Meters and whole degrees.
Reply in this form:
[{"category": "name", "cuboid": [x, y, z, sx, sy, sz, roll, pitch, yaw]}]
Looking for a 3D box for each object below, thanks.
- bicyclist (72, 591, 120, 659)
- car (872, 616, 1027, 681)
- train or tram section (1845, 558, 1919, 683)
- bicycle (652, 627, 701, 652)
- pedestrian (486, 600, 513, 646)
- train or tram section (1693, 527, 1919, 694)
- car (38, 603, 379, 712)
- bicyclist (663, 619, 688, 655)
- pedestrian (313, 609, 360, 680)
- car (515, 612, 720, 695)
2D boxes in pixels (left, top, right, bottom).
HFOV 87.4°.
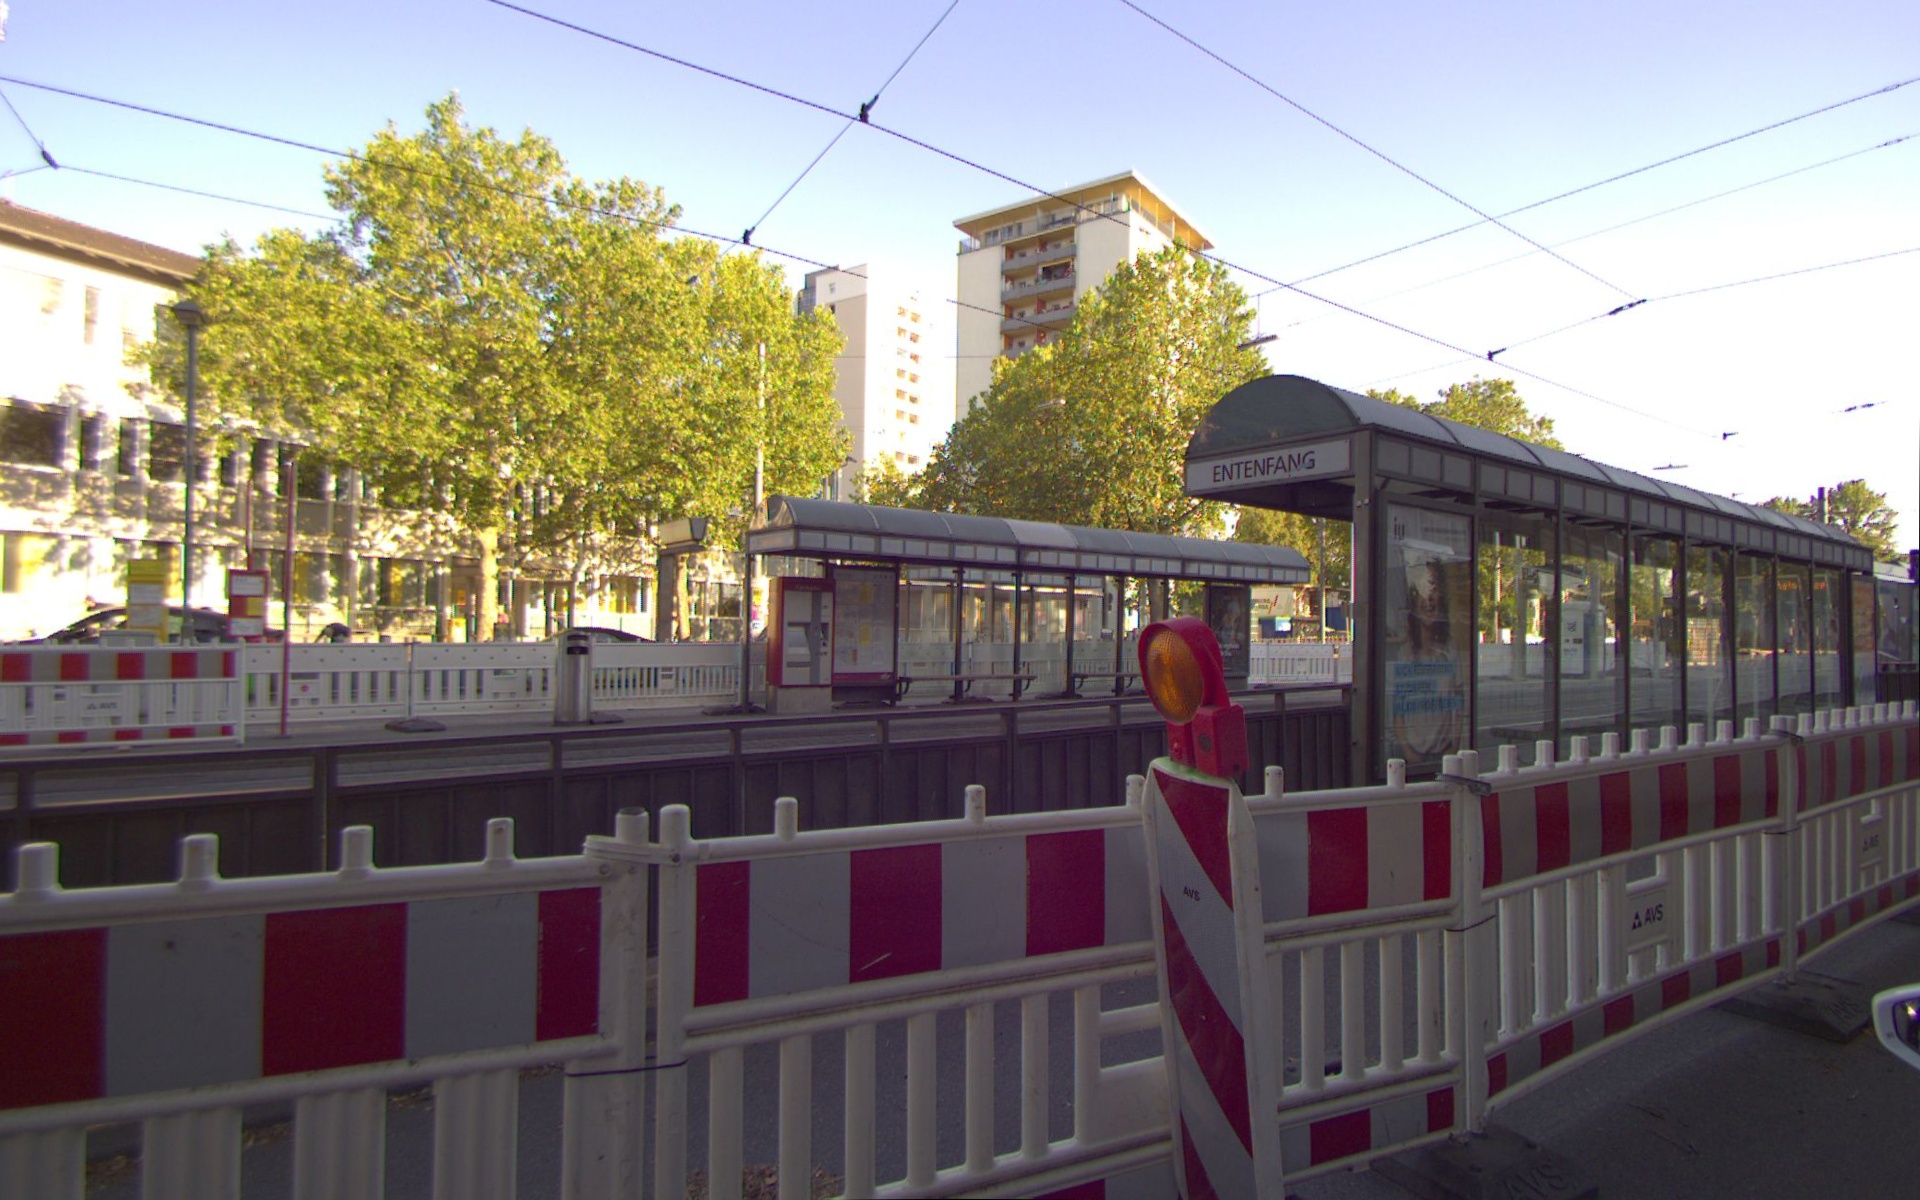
[{"category": "bicyclist", "cuboid": [-22.866, 0.665, 26.595, 0.662, 1.750, 0.763, 0, -1, 32]}, {"category": "car", "cuboid": [-0.264, 1.330, 28.131, 3.959, 1.683, 1.901, 2, -2, -35]}, {"category": "train or tram section", "cuboid": [32.109, 0.732, 32.802, 11.477, 3.606, 2.666, 2, 0, -38]}, {"category": "bicycle", "cuboid": [-12.400, 1.726, 44.042, 0.666, 1.045, 2.185, 0, -1, 31]}, {"category": "pedestrian", "cuboid": [-14.932, 0.759, 32.571, 0.578, 1.474, 0.583, 0, -2, 41]}, {"category": "train or tram section", "cuboid": [22.801, 0.372, 25.992, 11.657, 3.581, 2.668, 2, 0, -36]}, {"category": "car", "cuboid": [-12.827, 0.964, 17.553, 4.511, 1.683, 1.982, 2, -2, -34]}, {"category": "bicyclist", "cuboid": [-12.476, 1.621, 44.046, 0.566, 1.547, 0.844, 0, -1, 31]}, {"category": "pedestrian", "cuboid": [-16.600, 1.178, 26.733, 0.921, 1.858, 0.691, 2, -2, -43]}, {"category": "car", "cuboid": [-7.608, 1.161, 22.376, 3.958, 1.683, 1.982, 2, -2, -34]}]
